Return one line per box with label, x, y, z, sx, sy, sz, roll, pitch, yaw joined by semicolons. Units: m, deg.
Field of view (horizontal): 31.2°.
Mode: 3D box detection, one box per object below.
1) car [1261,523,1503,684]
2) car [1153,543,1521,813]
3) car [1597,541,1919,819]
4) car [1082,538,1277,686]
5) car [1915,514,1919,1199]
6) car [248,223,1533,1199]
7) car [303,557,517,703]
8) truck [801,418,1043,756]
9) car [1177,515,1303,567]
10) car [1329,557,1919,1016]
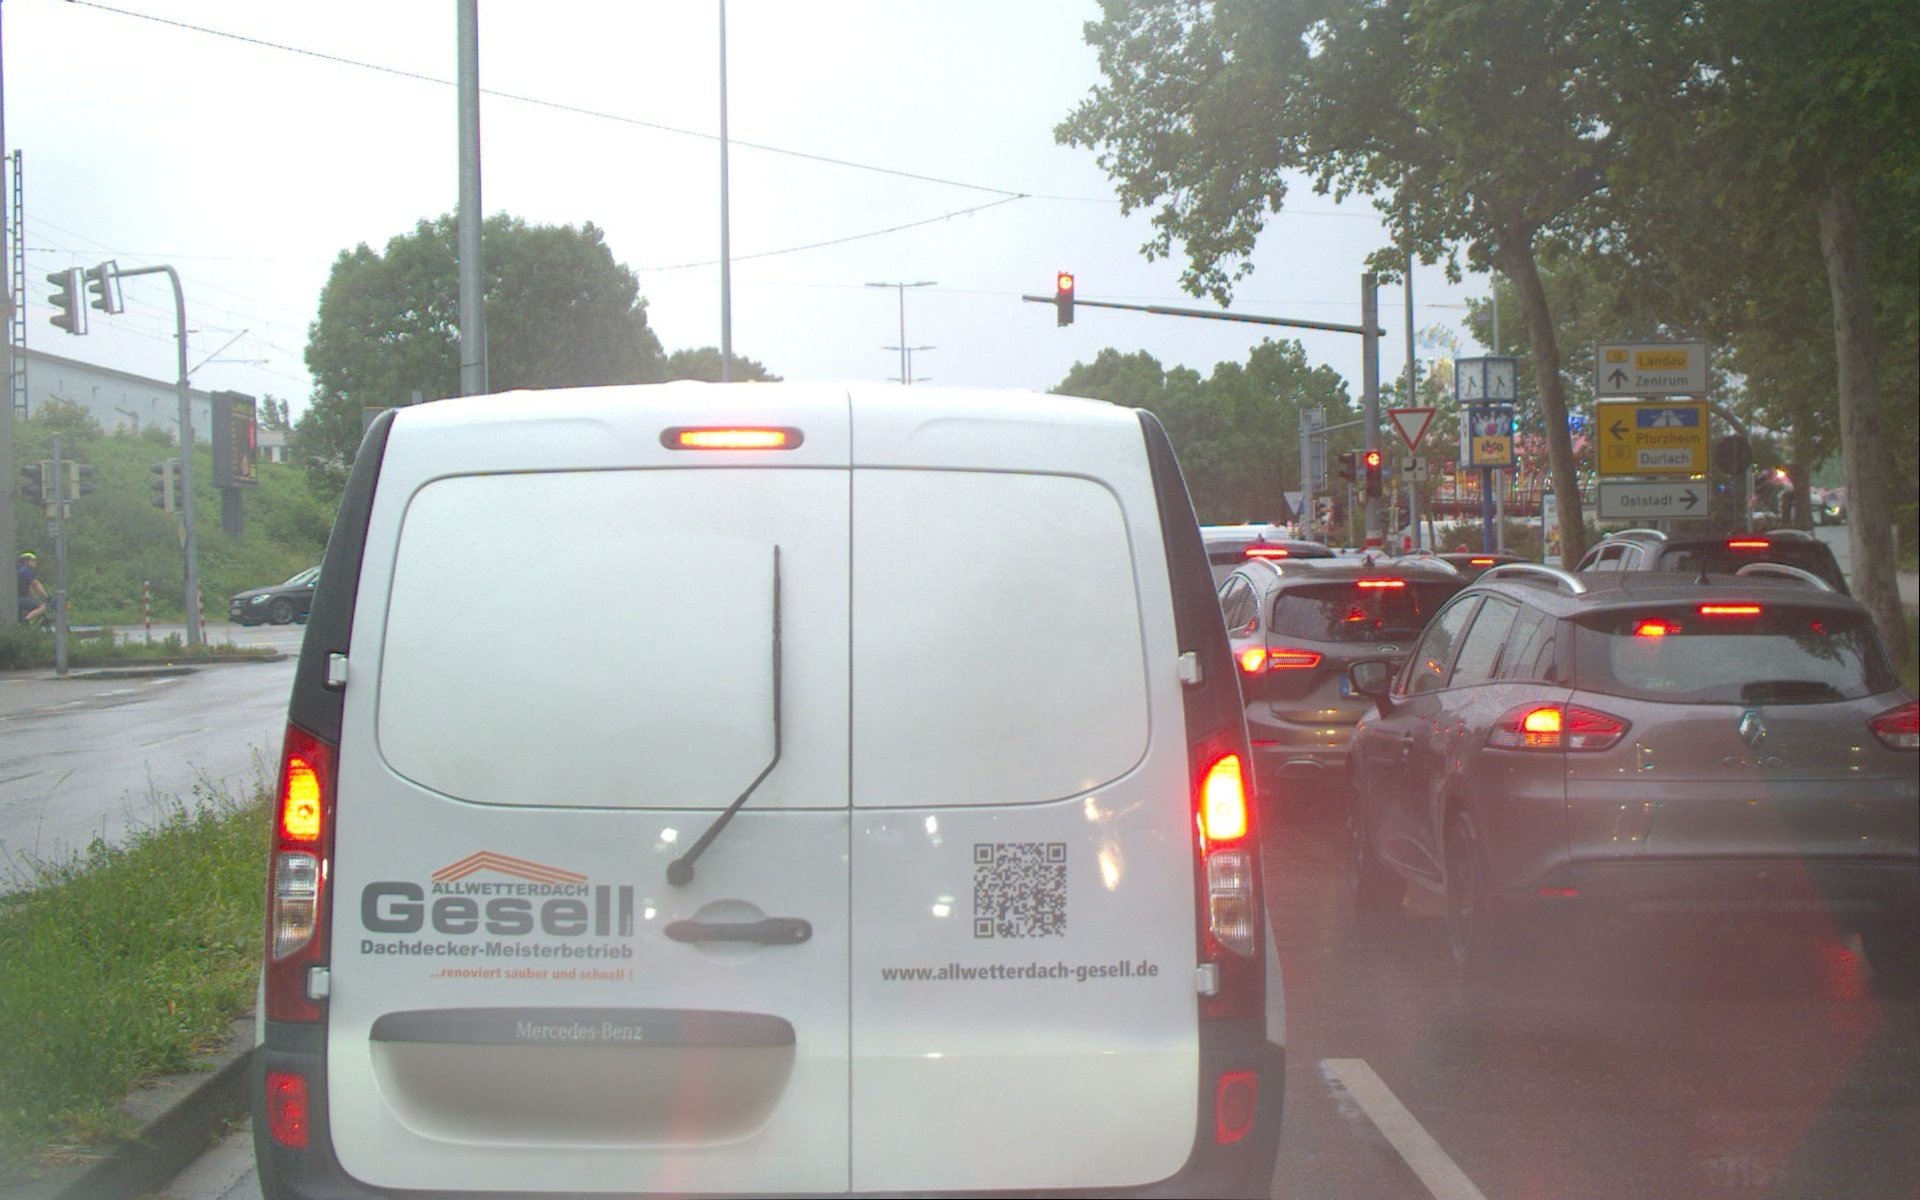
car;4.243;0.017;35.172;1.839;1.531;4.112;1;0;-2
car;2.157;0.391;20.638;1.711;1.440;4.000;0;1;-1
car;5.741;0.484;23.472;1.856;1.720;4.191;0;0;-2
car;2.233;0.078;35.846;1.711;1.440;4.000;0;1;-1
car;2.979;0.644;5.369;1.708;1.544;4.001;0;2;-2
car;-0.183;0.384;7.350;1.993;2.007;4.001;0;1;-2
car;-6.332;0.308;39.942;1.826;1.563;4.000;-2;1;0
truck;-0.353;-0.109;27.042;1.756;2.458;4.000;0;0;-2
car;9.679;-2.017;118.728;3.991;1.707;1.771;0;-1;21
car;2.503;0.577;13.083;1.711;1.440;4.000;0;1;-1
